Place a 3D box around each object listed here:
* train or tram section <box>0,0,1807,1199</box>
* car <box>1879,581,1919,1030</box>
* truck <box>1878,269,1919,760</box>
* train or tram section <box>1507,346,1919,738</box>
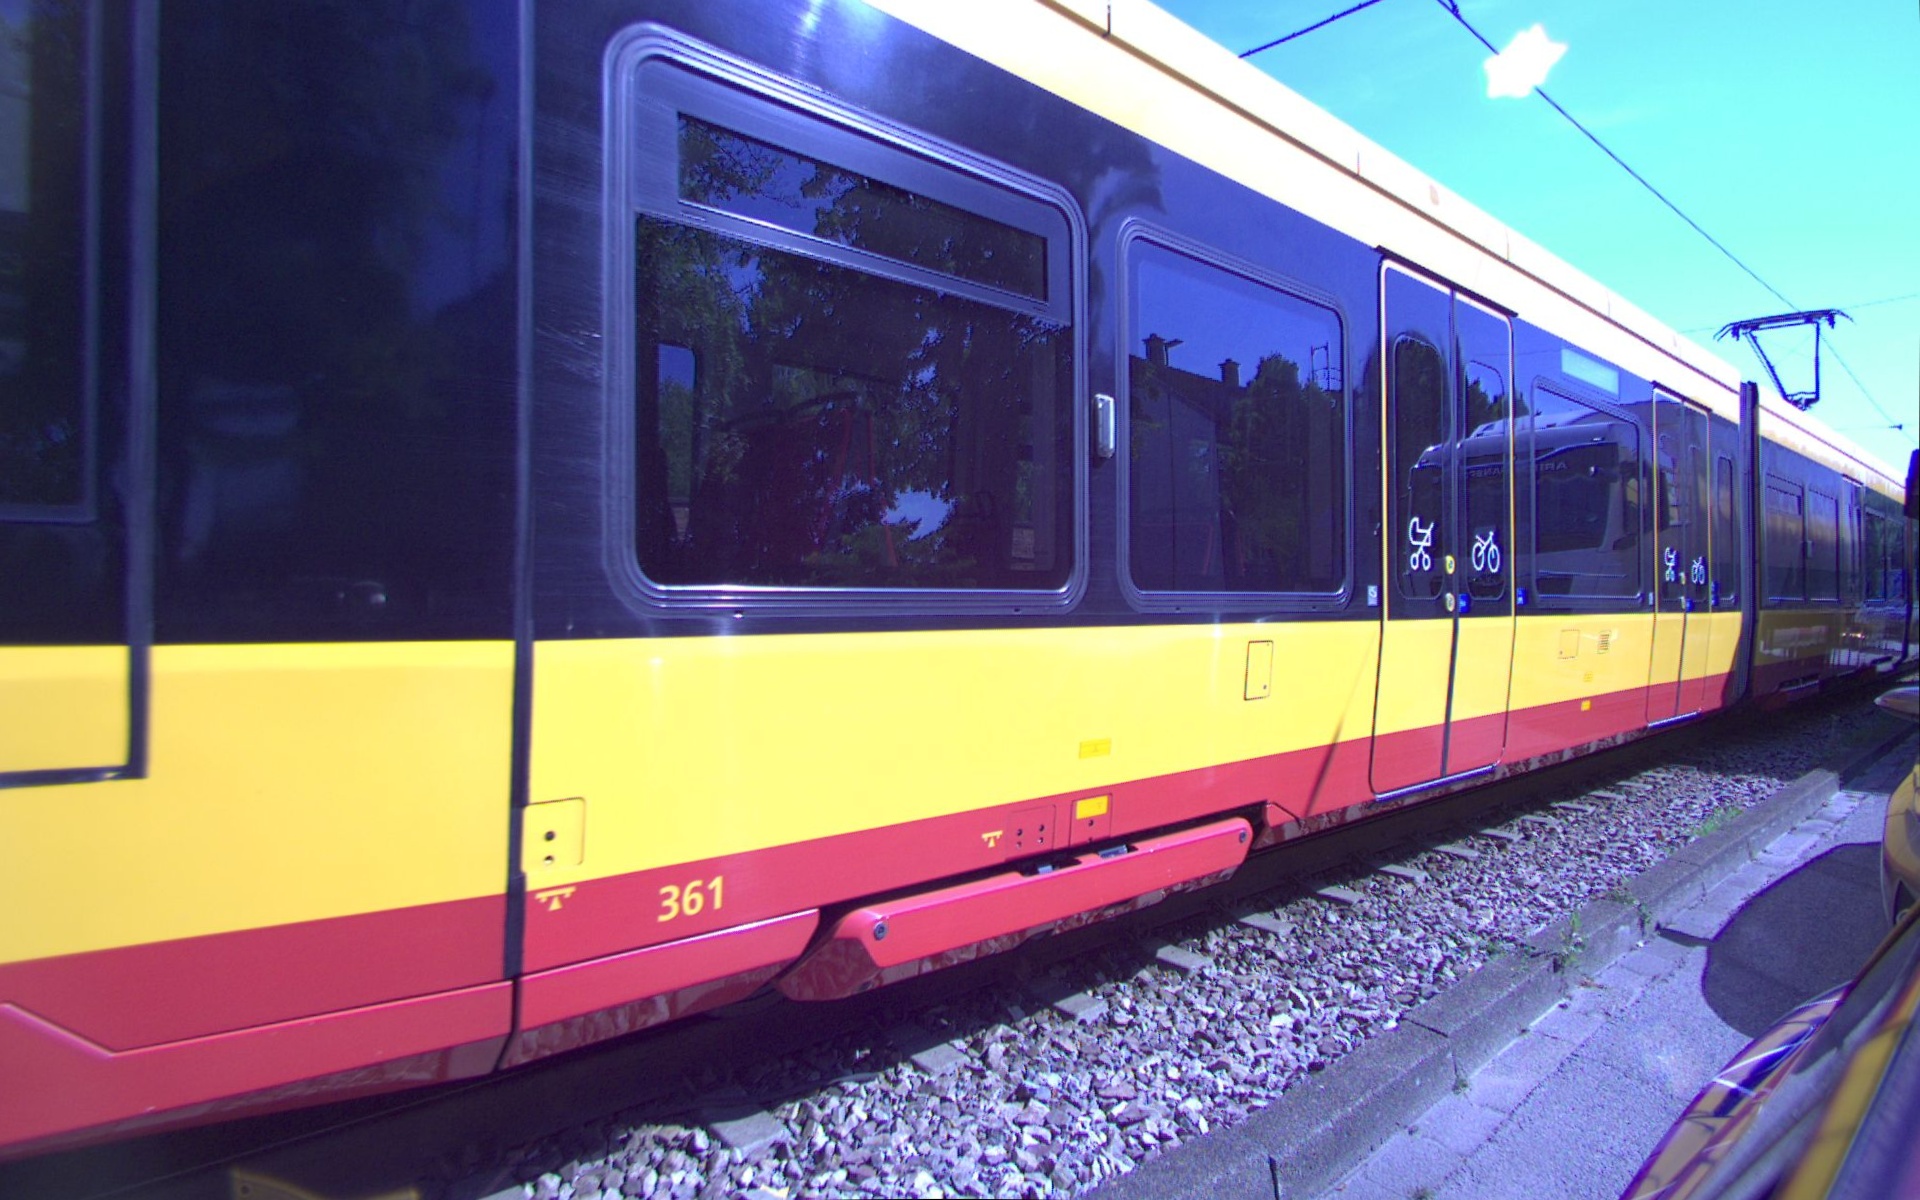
[{"bbox_3d":[1.548,-0.529,5.768,15.038,3.698,2.674,-1,0,-41],"label":"train or tram section"},{"bbox_3d":[5.118,0.676,4.026,3.960,1.465,1.718,0,1,-41],"label":"car"},{"bbox_3d":[14.275,-0.720,12.008,14.037,4.120,3.389,0,1,-41],"label":"truck"},{"bbox_3d":[14.128,-0.656,16.729,18.629,3.698,2.677,-1,0,-41],"label":"train or tram section"}]
